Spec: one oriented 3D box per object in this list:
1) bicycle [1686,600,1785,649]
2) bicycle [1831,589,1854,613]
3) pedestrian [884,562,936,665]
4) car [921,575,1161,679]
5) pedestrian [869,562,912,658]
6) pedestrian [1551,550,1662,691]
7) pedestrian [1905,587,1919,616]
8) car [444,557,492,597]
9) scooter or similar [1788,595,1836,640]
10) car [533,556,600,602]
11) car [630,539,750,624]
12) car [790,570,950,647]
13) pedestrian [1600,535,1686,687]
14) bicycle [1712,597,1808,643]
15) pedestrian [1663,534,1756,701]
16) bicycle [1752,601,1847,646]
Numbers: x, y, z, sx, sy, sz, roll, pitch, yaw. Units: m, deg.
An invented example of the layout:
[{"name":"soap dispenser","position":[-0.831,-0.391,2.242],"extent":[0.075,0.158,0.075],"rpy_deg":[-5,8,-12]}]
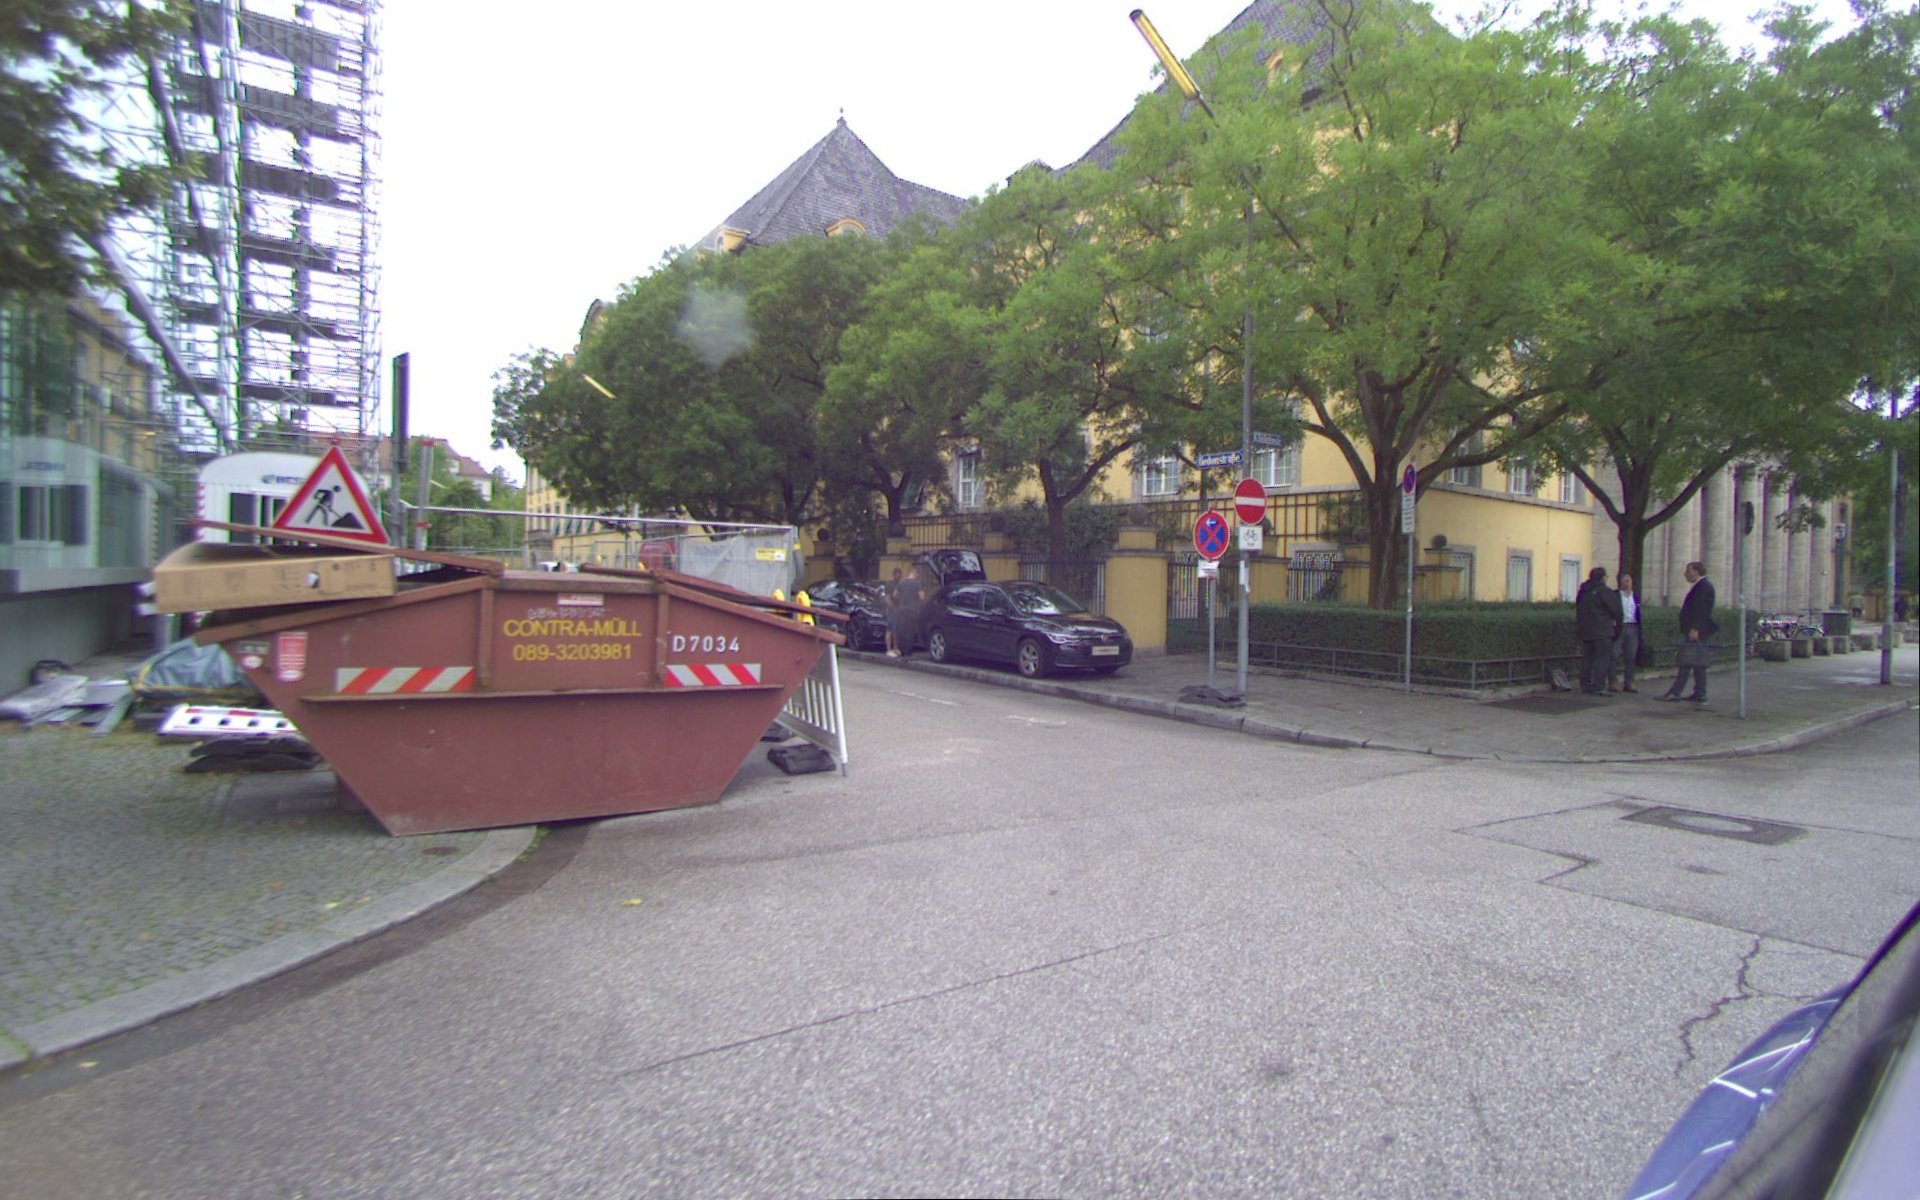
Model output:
[{"name":"bicycle","position":[19.778,0.598,25.853],"extent":[0.462,1.127,1.938],"rpy_deg":[1,2,-36]},{"name":"bicycle","position":[51.170,0.045,58.660],"extent":[2.223,1.323,0.601],"rpy_deg":[0,2,-39]},{"name":"pedestrian","position":[-0.908,0.228,18.467],"extent":[0.667,1.832,0.677],"rpy_deg":[2,2,33]},{"name":"car","position":[1.209,0.343,17.010],"extent":[1.833,1.504,4.221],"rpy_deg":[-1,2,-33]},{"name":"pedestrian","position":[-1.310,0.176,19.051],"extent":[0.559,1.773,0.581],"rpy_deg":[2,2,42]},{"name":"pedestrian","position":[9.129,0.277,14.321],"extent":[1.035,1.931,0.745],"rpy_deg":[1,1,-3]},{"name":"pedestrian","position":[58.112,0.099,61.555],"extent":[1.037,1.767,0.790],"rpy_deg":[0,1,-39]},{"name":"car","position":[-28.863,-1.325,59.314],"extent":[1.961,2.106,4.000],"rpy_deg":[-1,-1,-33]},{"name":"scooter or similar","position":[24.317,0.488,28.897],"extent":[0.528,1.237,1.011],"rpy_deg":[2,1,6]},{"name":"car","position":[-18.546,-0.978,47.626],"extent":[1.962,2.039,3.999],"rpy_deg":[0,1,-36]},{"name":"car","position":[-8.823,-0.640,32.681],"extent":[2.112,2.492,5.700],"rpy_deg":[-1,2,-32]},{"name":"car","position":[-2.044,0.109,21.935],"extent":[1.833,1.504,4.008],"rpy_deg":[-1,2,-33]},{"name":"pedestrian","position":[10.145,0.148,15.029],"extent":[1.037,2.161,0.744],"rpy_deg":[0,1,-39]},{"name":"bicycle","position":[21.383,0.519,27.082],"extent":[0.462,1.127,1.938],"rpy_deg":[1,2,-36]},{"name":"pedestrian","position":[10.177,0.210,13.739],"extent":[1.037,2.161,0.744],"rpy_deg":[0,1,-39]},{"name":"bicycle","position":[23.306,0.638,28.130],"extent":[0.463,1.127,1.935],"rpy_deg":[0,2,-41]}]
